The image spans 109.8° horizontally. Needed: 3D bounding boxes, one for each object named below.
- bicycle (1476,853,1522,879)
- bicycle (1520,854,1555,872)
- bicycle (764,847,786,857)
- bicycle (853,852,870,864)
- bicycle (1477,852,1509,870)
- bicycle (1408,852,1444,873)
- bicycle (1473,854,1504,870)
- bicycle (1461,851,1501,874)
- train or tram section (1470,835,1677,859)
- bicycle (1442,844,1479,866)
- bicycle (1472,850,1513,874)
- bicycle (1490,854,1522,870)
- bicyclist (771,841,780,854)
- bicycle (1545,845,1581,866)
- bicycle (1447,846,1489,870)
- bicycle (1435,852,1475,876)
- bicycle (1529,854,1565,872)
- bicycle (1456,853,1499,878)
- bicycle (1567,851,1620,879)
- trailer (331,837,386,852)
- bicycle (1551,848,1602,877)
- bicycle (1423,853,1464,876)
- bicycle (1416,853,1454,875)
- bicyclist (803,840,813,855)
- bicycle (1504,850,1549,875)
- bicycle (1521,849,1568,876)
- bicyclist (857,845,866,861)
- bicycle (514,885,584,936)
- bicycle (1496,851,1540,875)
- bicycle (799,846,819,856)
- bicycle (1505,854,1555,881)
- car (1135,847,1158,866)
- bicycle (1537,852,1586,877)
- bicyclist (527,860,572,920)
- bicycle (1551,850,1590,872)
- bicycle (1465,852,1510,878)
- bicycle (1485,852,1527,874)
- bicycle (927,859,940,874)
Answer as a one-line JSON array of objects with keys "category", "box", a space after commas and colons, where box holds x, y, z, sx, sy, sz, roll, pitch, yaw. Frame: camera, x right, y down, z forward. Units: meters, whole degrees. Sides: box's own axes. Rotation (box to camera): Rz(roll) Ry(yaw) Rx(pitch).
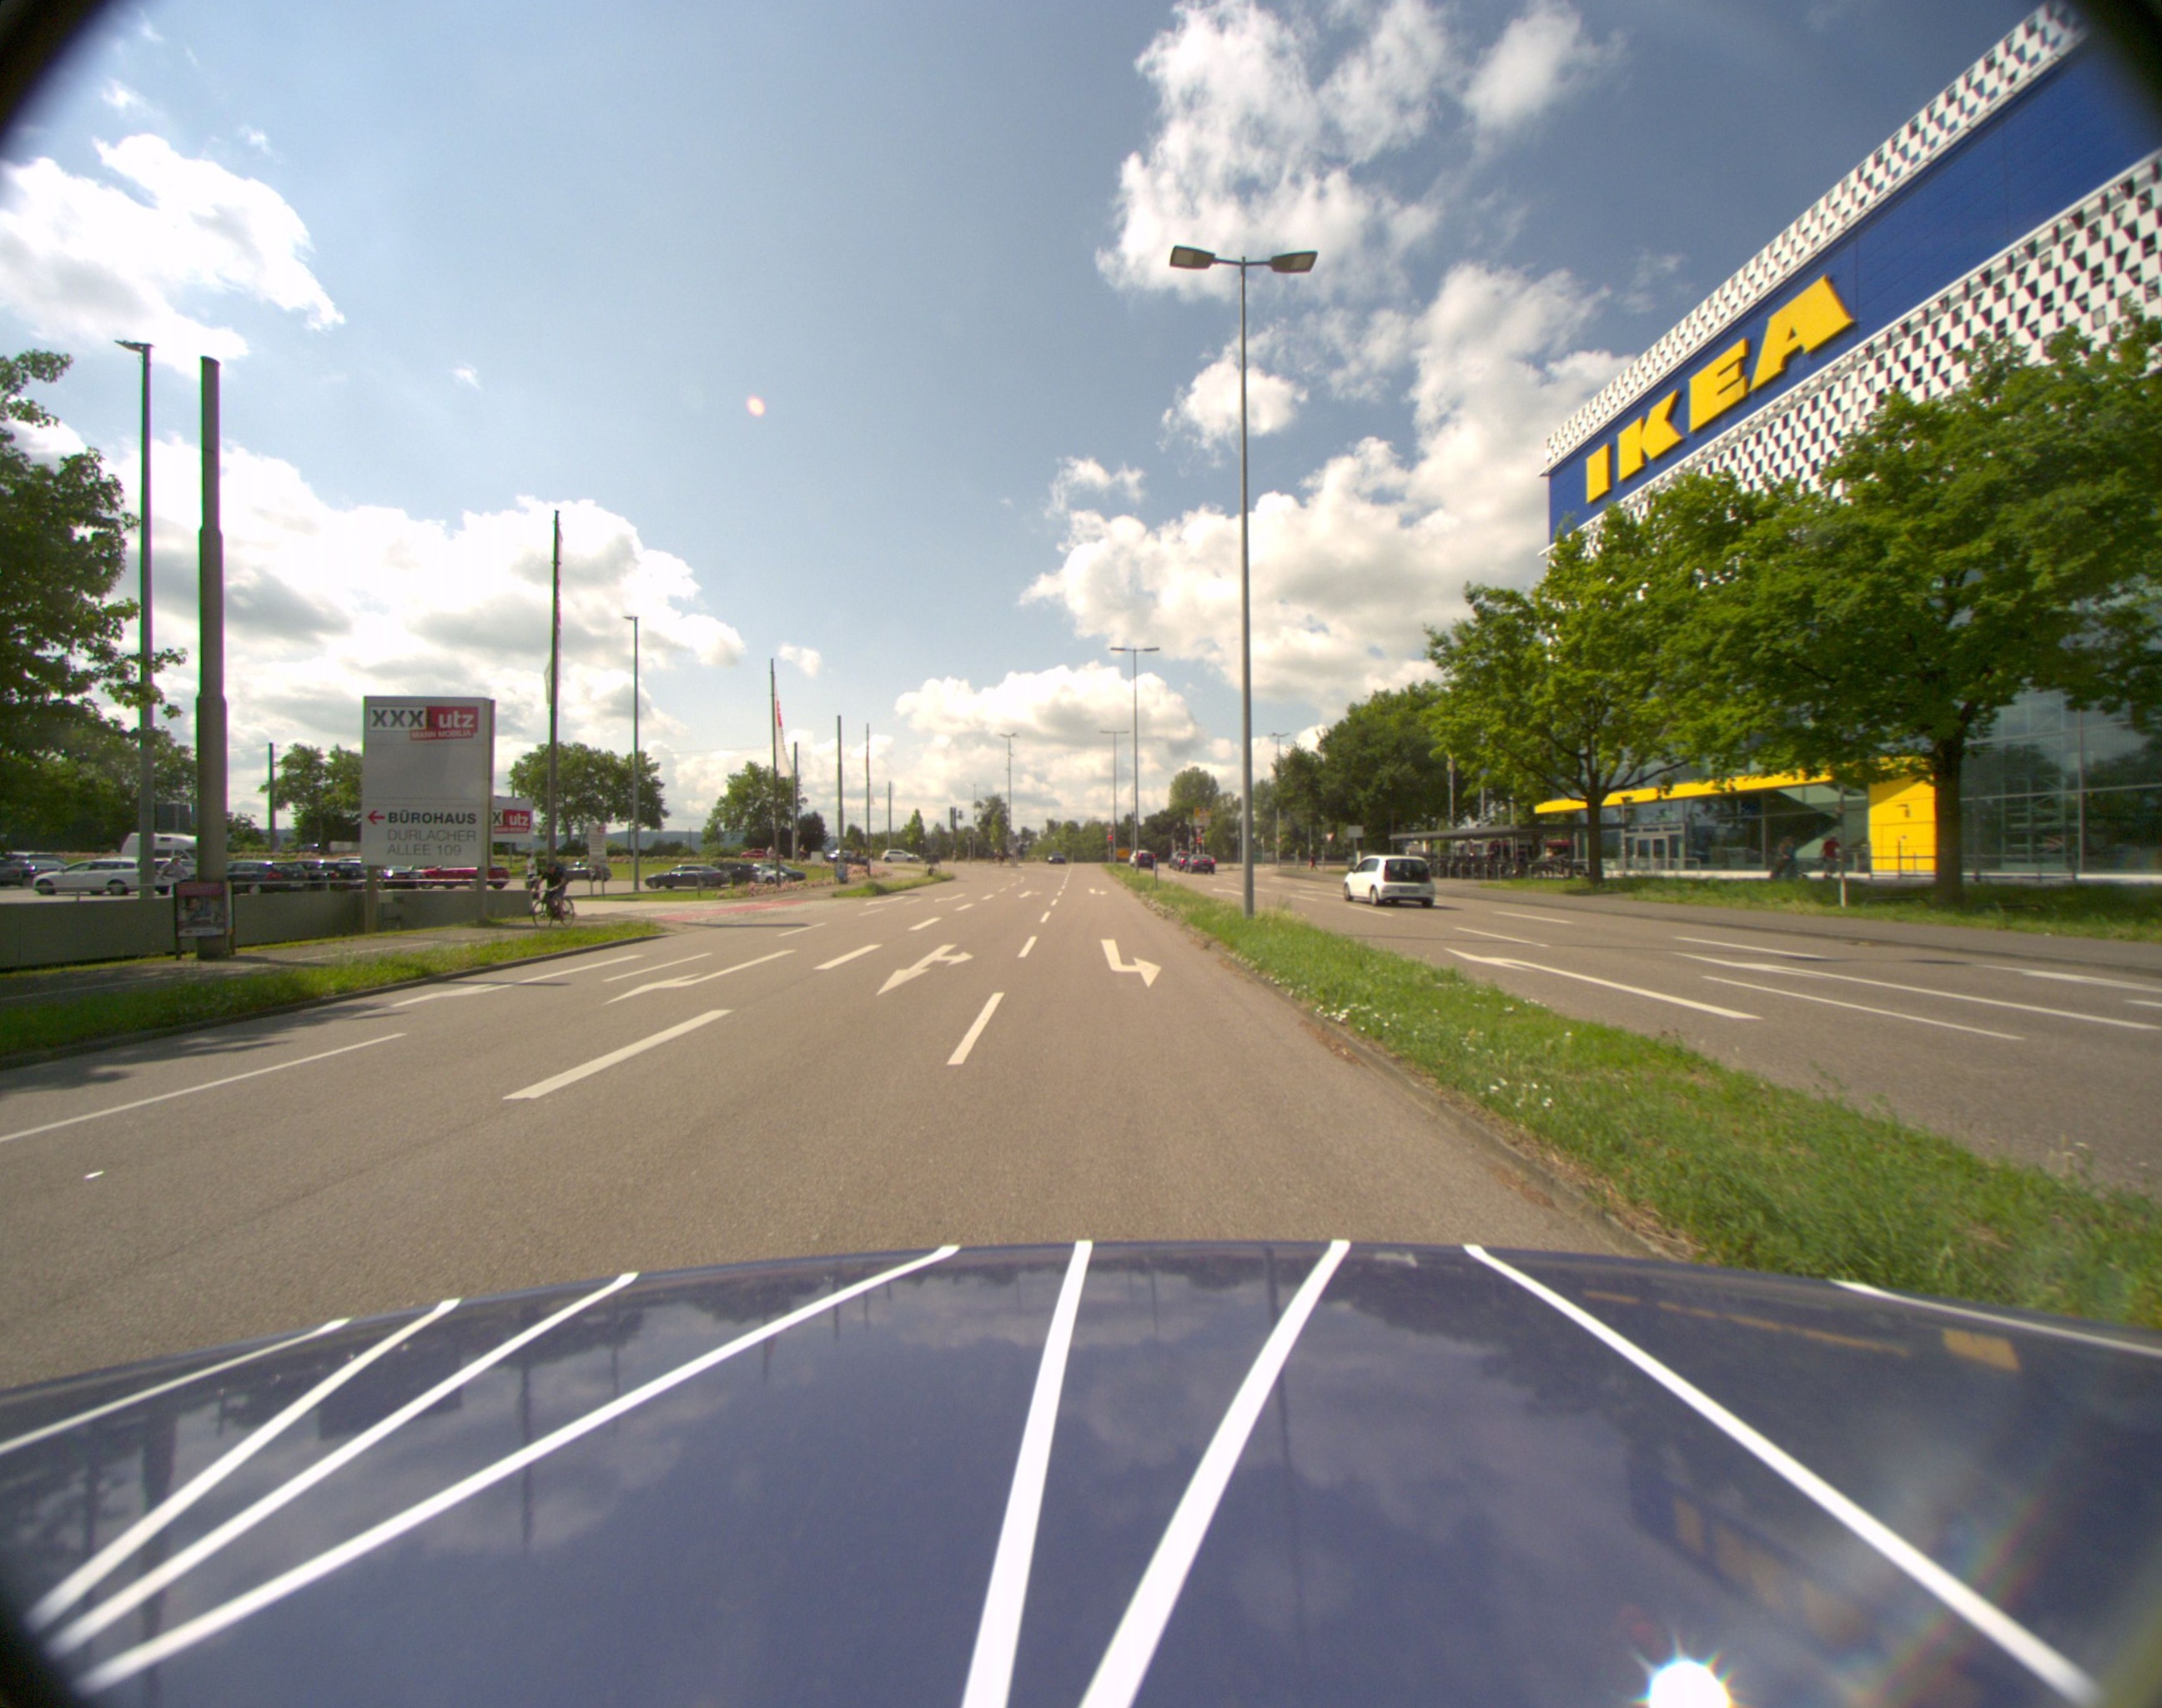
[{"category": "bicycle", "box": [20.781, 0.600, 37.789, 1.930, 1.265, 0.630, -1, 0, 0]}, {"category": "bicycle", "box": [28.991, 0.559, 48.289, 1.935, 1.083, 0.520, -1, 0, -4]}, {"category": "bicycle", "box": [-30.552, -0.156, 75.850, 1.988, 0.955, 0.596, -1, 0, -12]}, {"category": "bicycle", "box": [-21.835, 0.416, 75.709, 1.504, 1.158, 0.621, -1, 0, -5]}, {"category": "bicycle", "box": [28.159, 0.482, 51.959, 1.961, 1.165, 0.467, -1, 0, -4]}, {"category": "bicycle", "box": [21.093, 0.524, 46.492, 1.930, 1.265, 0.630, -1, 0, 0]}, {"category": "bicycle", "box": [28.500, 0.563, 53.145, 1.939, 1.064, 0.528, -1, 1, -5]}, {"category": "bicycle", "box": [23.130, 0.481, 43.962, 1.930, 1.265, 0.630, -1, 0, 0]}, {"category": "train or tram section", "box": [65.953, -0.918, 102.094, 25.113, 3.014, 4.530, 1, 0, -1]}, {"category": "bicycle", "box": [23.094, 0.079, 46.263, 1.930, 1.265, 0.630, -1, 0, 0]}, {"category": "bicycle", "box": [23.065, 0.448, 42.639, 1.930, 1.265, 0.630, -1, 0, 0]}, {"category": "bicycle", "box": [28.660, 0.535, 51.244, 1.939, 1.064, 0.529, -1, 1, -4]}, {"category": "bicyclist", "box": [-30.479, -0.621, 75.871, 0.687, 1.318, 0.592, -1, 0, -12]}, {"category": "bicycle", "box": [29.038, 0.101, 45.780, 1.939, 1.202, 0.529, -1, 1, -4]}, {"category": "bicycle", "box": [21.037, 0.205, 41.334, 1.930, 1.265, 0.630, -1, 0, 0]}, {"category": "bicycle", "box": [20.961, 0.574, 42.625, 1.930, 1.265, 0.630, -1, 0, 0]}, {"category": "bicycle", "box": [29.011, 0.538, 47.325, 1.939, 1.064, 0.529, -1, 1, -4]}, {"category": "bicycle", "box": [21.012, 0.585, 40.252, 1.930, 1.265, 0.630, -1, 0, 0]}, {"category": "bicycle", "box": [23.153, 0.494, 34.334, 1.930, 1.177, 0.630, -1, 0, 0]}, {"category": "trailer", "box": [-96.648, -1.271, 101.688, 5.182, 1.821, 1.823, -2, 1, -8]}, {"category": "bicycle", "box": [23.073, 0.393, 35.375, 1.930, 1.265, 0.630, -1, 0, 0]}, {"category": "bicycle", "box": [20.940, 0.581, 43.911, 2.094, 1.265, 0.630, -1, 0, 0]}, {"category": "bicycle", "box": [20.924, 0.607, 44.921, 1.930, 1.265, 0.630, -1, 0, 0]}, {"category": "bicyclist", "box": [-27.056, -0.652, 75.279, 0.742, 1.466, 0.651, -1, 0, 1]}, {"category": "bicycle", "box": [23.020, 0.441, 39.254, 1.930, 1.265, 0.630, -1, 0, 0]}, {"category": "bicycle", "box": [23.033, 0.427, 37.794, 1.930, 1.265, 0.630, -1, 0, 0]}, {"category": "bicyclist", "box": [-21.863, -0.121, 75.704, 0.697, 1.526, 0.620, -1, 0, -5]}, {"category": "bicycle", "box": [-12.616, 1.312, 18.085, 0.625, 1.061, 1.965, 0, 0, -12]}, {"category": "bicycle", "box": [23.165, 0.475, 40.263, 1.930, 1.265, 0.630, -1, 0, 0]}, {"category": "bicycle", "box": [-26.984, -0.256, 75.279, 1.695, 0.955, 0.666, -1, 0, 1]}, {"category": "bicycle", "box": [20.890, 0.635, 35.371, 1.930, 1.176, 0.630, -1, 0, 0]}, {"category": "car", "box": [5.722, 0.200, 66.700, 1.608, 1.485, 4.131, 1, 1, 0]}, {"category": "bicycle", "box": [23.047, 0.505, 36.473, 1.930, 1.172, 0.630, -1, 0, 0]}, {"category": "bicyclist", "box": [-12.621, 0.837, 18.062, 0.617, 1.404, 0.714, -1, 0, -12]}, {"category": "bicycle", "box": [29.044, 0.415, 45.108, 1.950, 1.236, 0.597, -1, 1, -4]}, {"category": "bicycle", "box": [20.944, 0.560, 39.180, 1.930, 1.265, 0.630, -1, 0, 0]}, {"category": "bicycle", "box": [23.085, 0.495, 41.265, 1.930, 1.176, 0.630, -1, 0, 0]}, {"category": "bicycle", "box": [-10.131, 0.869, 52.219, 0.518, 0.947, 1.543, -1, 1, 0]}]
